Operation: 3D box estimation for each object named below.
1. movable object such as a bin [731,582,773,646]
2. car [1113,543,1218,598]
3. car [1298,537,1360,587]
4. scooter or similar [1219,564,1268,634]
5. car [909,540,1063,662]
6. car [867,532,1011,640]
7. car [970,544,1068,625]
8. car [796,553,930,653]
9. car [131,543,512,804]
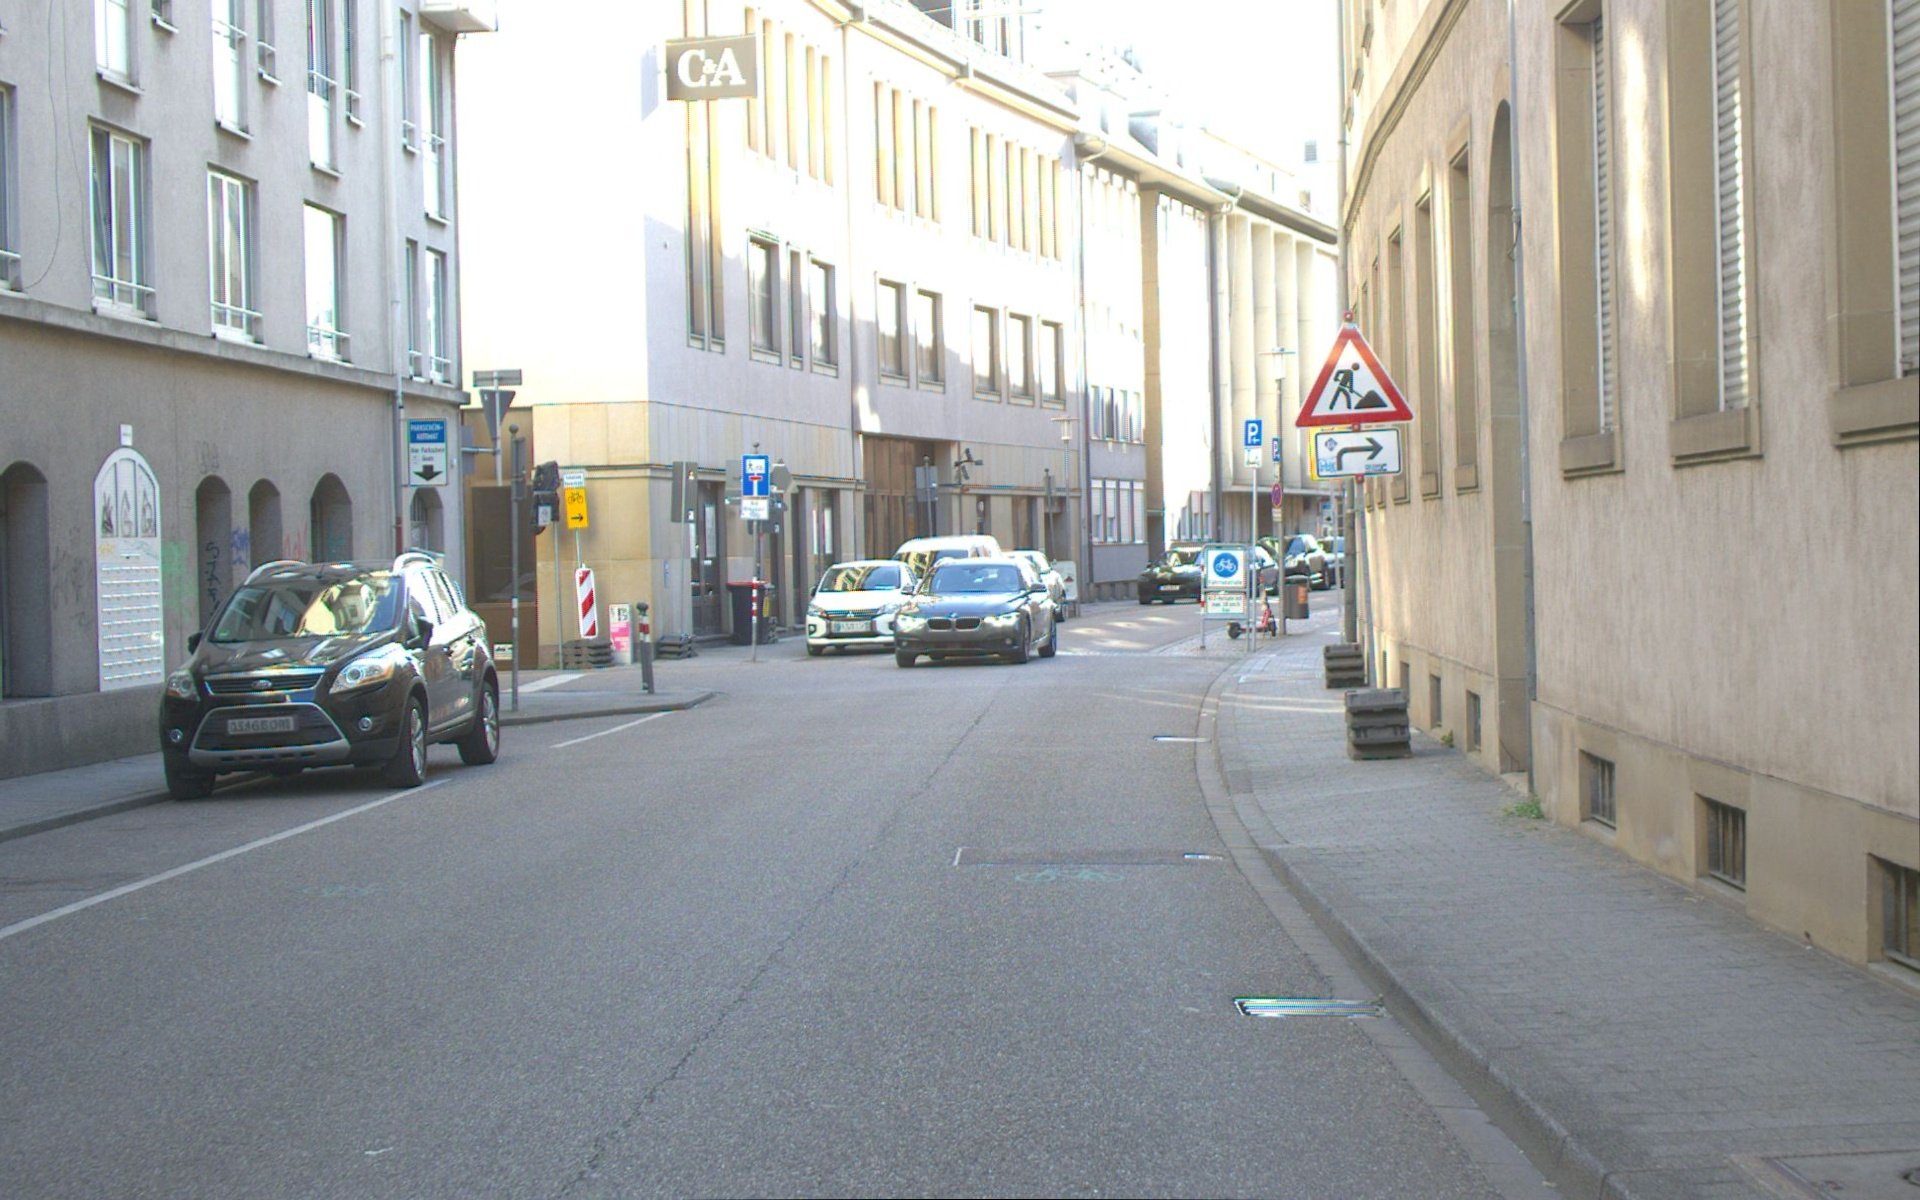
[{"bbox_3d":[-3.495,0.232,57.876,0.609,1.057,0.713,1,1,3],"label":"movable object such as a bin"},{"bbox_3d":[5.322,-0.781,88.591,1.882,1.327,4.097,-1,1,15],"label":"car"},{"bbox_3d":[11.584,-1.208,107.783,1.339,1.489,3.507,-1,1,15],"label":"car"},{"bbox_3d":[4.724,-0.020,57.303,0.771,1.132,0.269,1,1,8],"label":"scooter or similar"},{"bbox_3d":[0.316,-0.008,47.210,1.714,1.572,4.191,-1,1,-5],"label":"car"},{"bbox_3d":[-0.337,-0.282,62.286,1.671,1.812,4.550,-2,1,11],"label":"car"},{"bbox_3d":[1.193,-0.322,68.347,1.272,1.501,3.400,-2,1,12],"label":"car"},{"bbox_3d":[-1.558,0.020,56.519,1.671,1.501,3.793,-2,1,6],"label":"car"},{"bbox_3d":[-4.715,0.482,25.996,1.740,1.705,4.190,-3,1,4],"label":"car"}]
